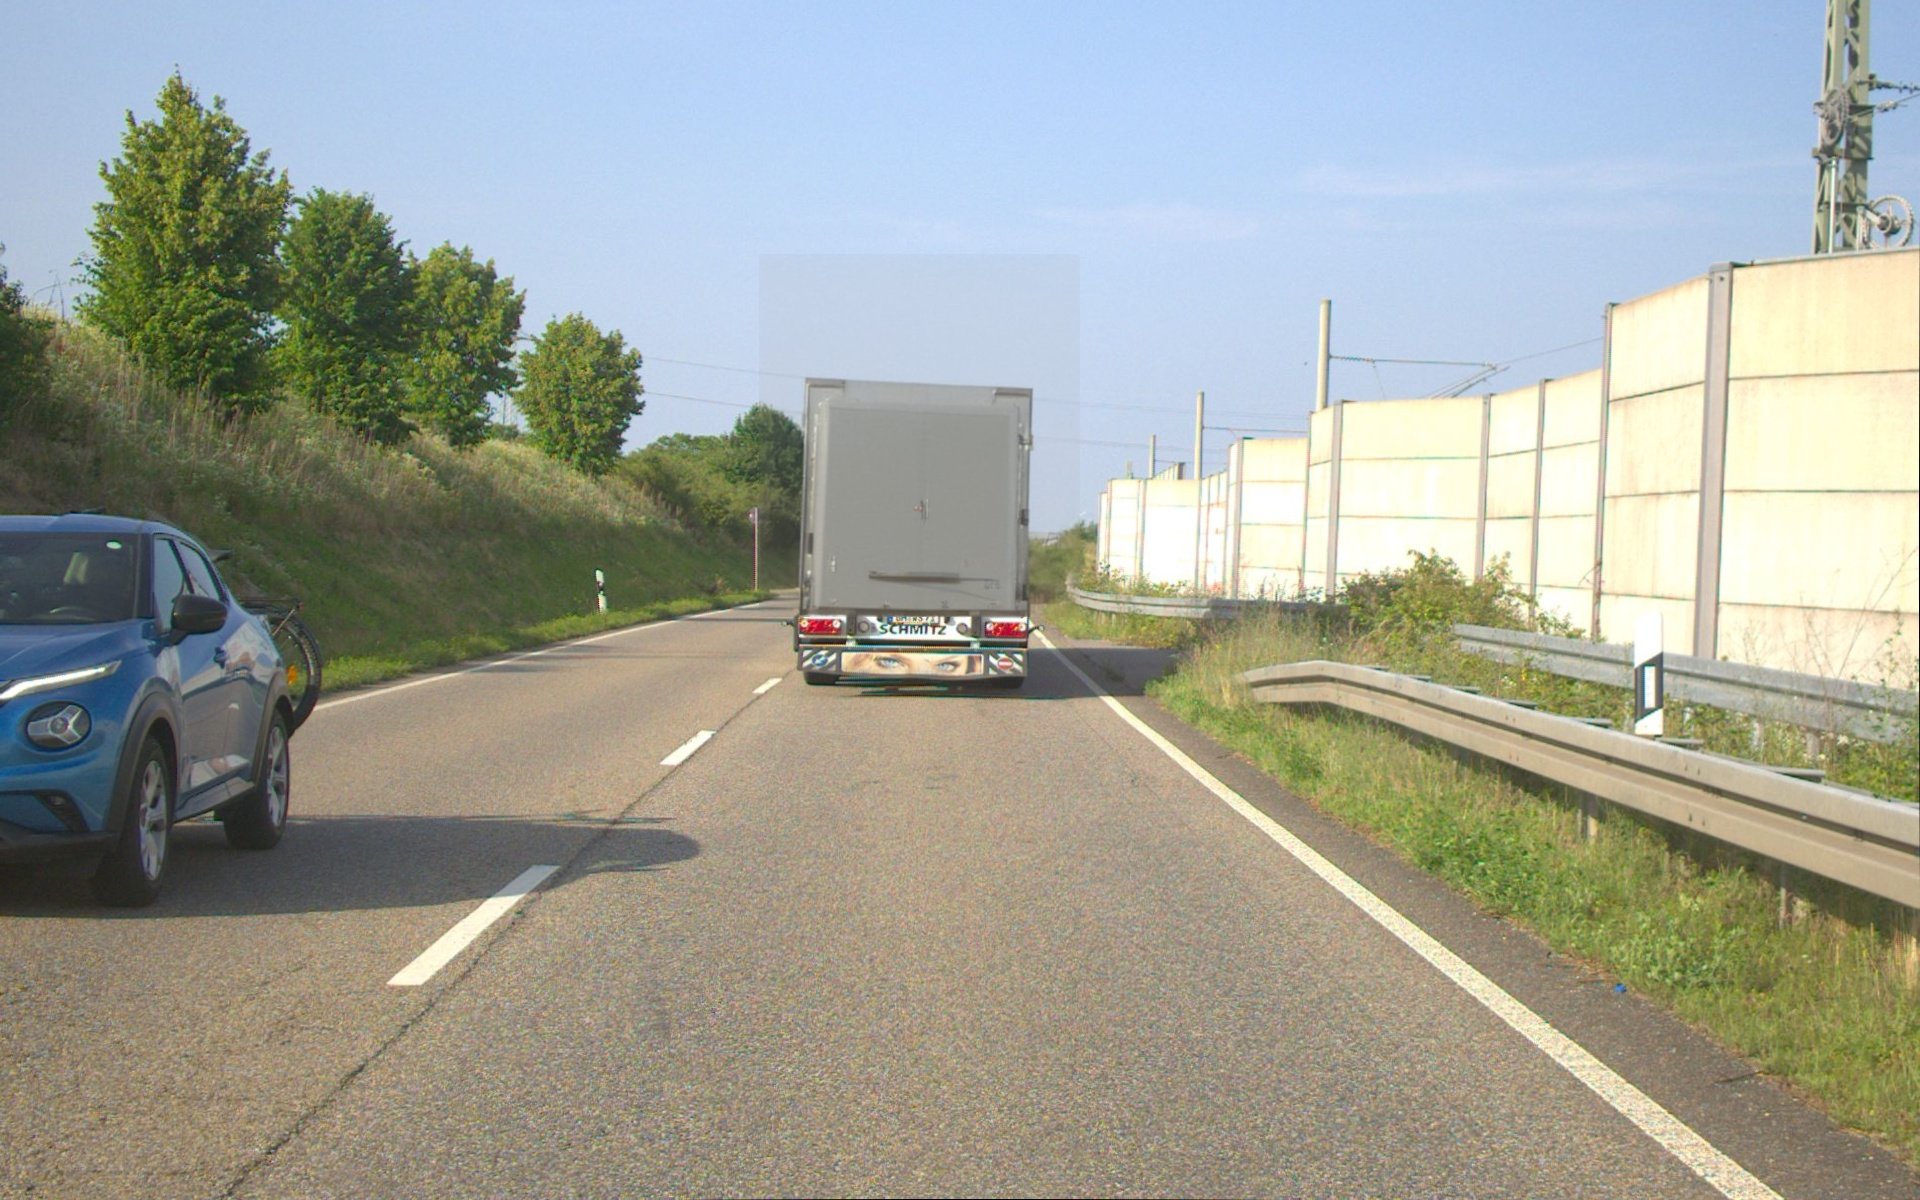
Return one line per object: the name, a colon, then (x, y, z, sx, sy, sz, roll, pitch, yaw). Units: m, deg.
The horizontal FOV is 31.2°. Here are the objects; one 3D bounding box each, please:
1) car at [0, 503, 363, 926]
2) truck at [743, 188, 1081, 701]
car: (-4.214, 0.370, 15.515, 2.141, 1.568, 5.340, 2, 1, -1)
truck: (-0.556, -1.659, 40.435, 3.290, 5.072, 12.038, 1, 1, -1)
